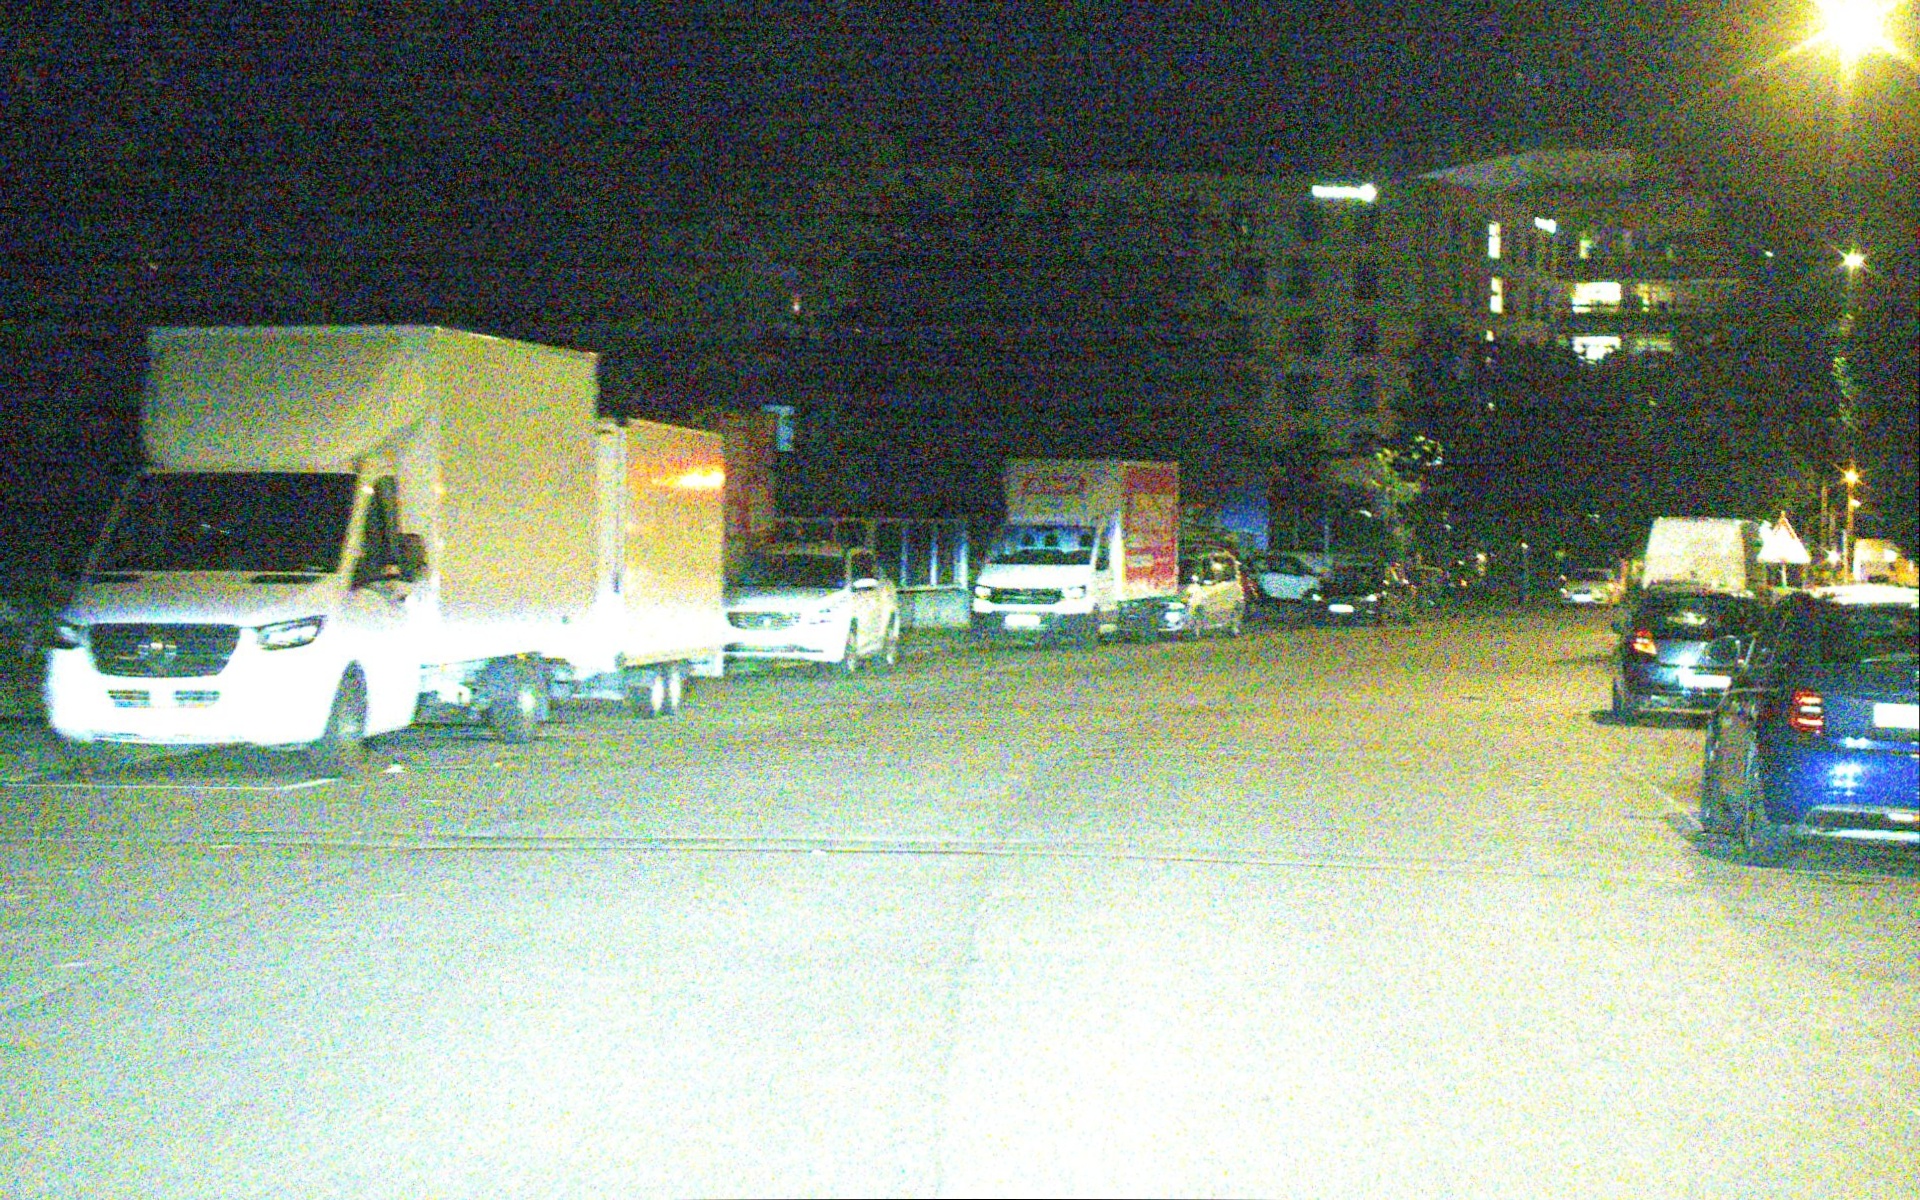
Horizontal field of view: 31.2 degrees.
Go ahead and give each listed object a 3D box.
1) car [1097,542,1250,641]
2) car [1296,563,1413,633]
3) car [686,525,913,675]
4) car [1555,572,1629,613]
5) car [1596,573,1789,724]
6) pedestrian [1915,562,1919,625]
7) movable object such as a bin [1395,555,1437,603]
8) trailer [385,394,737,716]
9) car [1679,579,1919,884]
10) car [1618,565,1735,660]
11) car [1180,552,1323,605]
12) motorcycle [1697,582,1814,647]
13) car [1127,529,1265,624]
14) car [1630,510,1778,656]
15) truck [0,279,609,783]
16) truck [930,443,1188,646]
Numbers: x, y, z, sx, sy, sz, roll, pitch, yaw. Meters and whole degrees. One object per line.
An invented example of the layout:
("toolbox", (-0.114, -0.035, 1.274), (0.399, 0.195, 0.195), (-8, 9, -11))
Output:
("car", (4.127, -0.185, 65.818), (1.830, 1.810, 4.834), (1, 1, 17))
("car", (9.568, -0.037, 83.055), (1.757, 1.521, 4.317), (3, 0, 20))
("car", (-1.959, -0.031, 43.591), (1.994, 1.766, 4.691), (1, 1, 8))
("car", (22.235, -0.280, 120.888), (1.913, 1.399, 4.333), (1, 1, 19))
("car", (7.995, 0.487, 37.816), (1.711, 1.503, 3.999), (2, 1, 7))
("pedestrian", (28.656, -0.194, 101.939), (0.571, 1.846, 0.819), (1, 1, 19))
("movable object such as a bin", (14.550, -0.665, 109.576), (1.165, 1.490, 1.065), (1, 1, 16))
("trailer", (-3.663, -0.426, 32.500), (2.205, 2.786, 4.615), (1, 1, 7))
("car", (5.158, 0.690, 19.599), (1.609, 1.506, 3.825), (3, 1, 6))
("car", (12.130, 0.174, 58.034), (1.712, 1.503, 4.637), (1, 1, 14))
("car", (8.840, -0.664, 104.281), (3.990, 1.565, 1.815), (0, 1, 19))
("motorcycle", (15.755, 0.287, 68.134), (0.766, 1.179, 2.185), (2, 1, -40))
("car", (5.990, -0.599, 86.736), (1.996, 2.313, 4.961), (-1, 0, 22))
("car", (13.944, -0.332, 64.206), (2.022, 2.518, 6.046), (2, 1, 18))
("truck", (-4.742, -0.500, 25.869), (2.374, 3.232, 7.229), (1, 1, 9))
("truck", (1.832, -0.938, 59.569), (2.546, 3.269, 7.306), (1, 1, 17))
